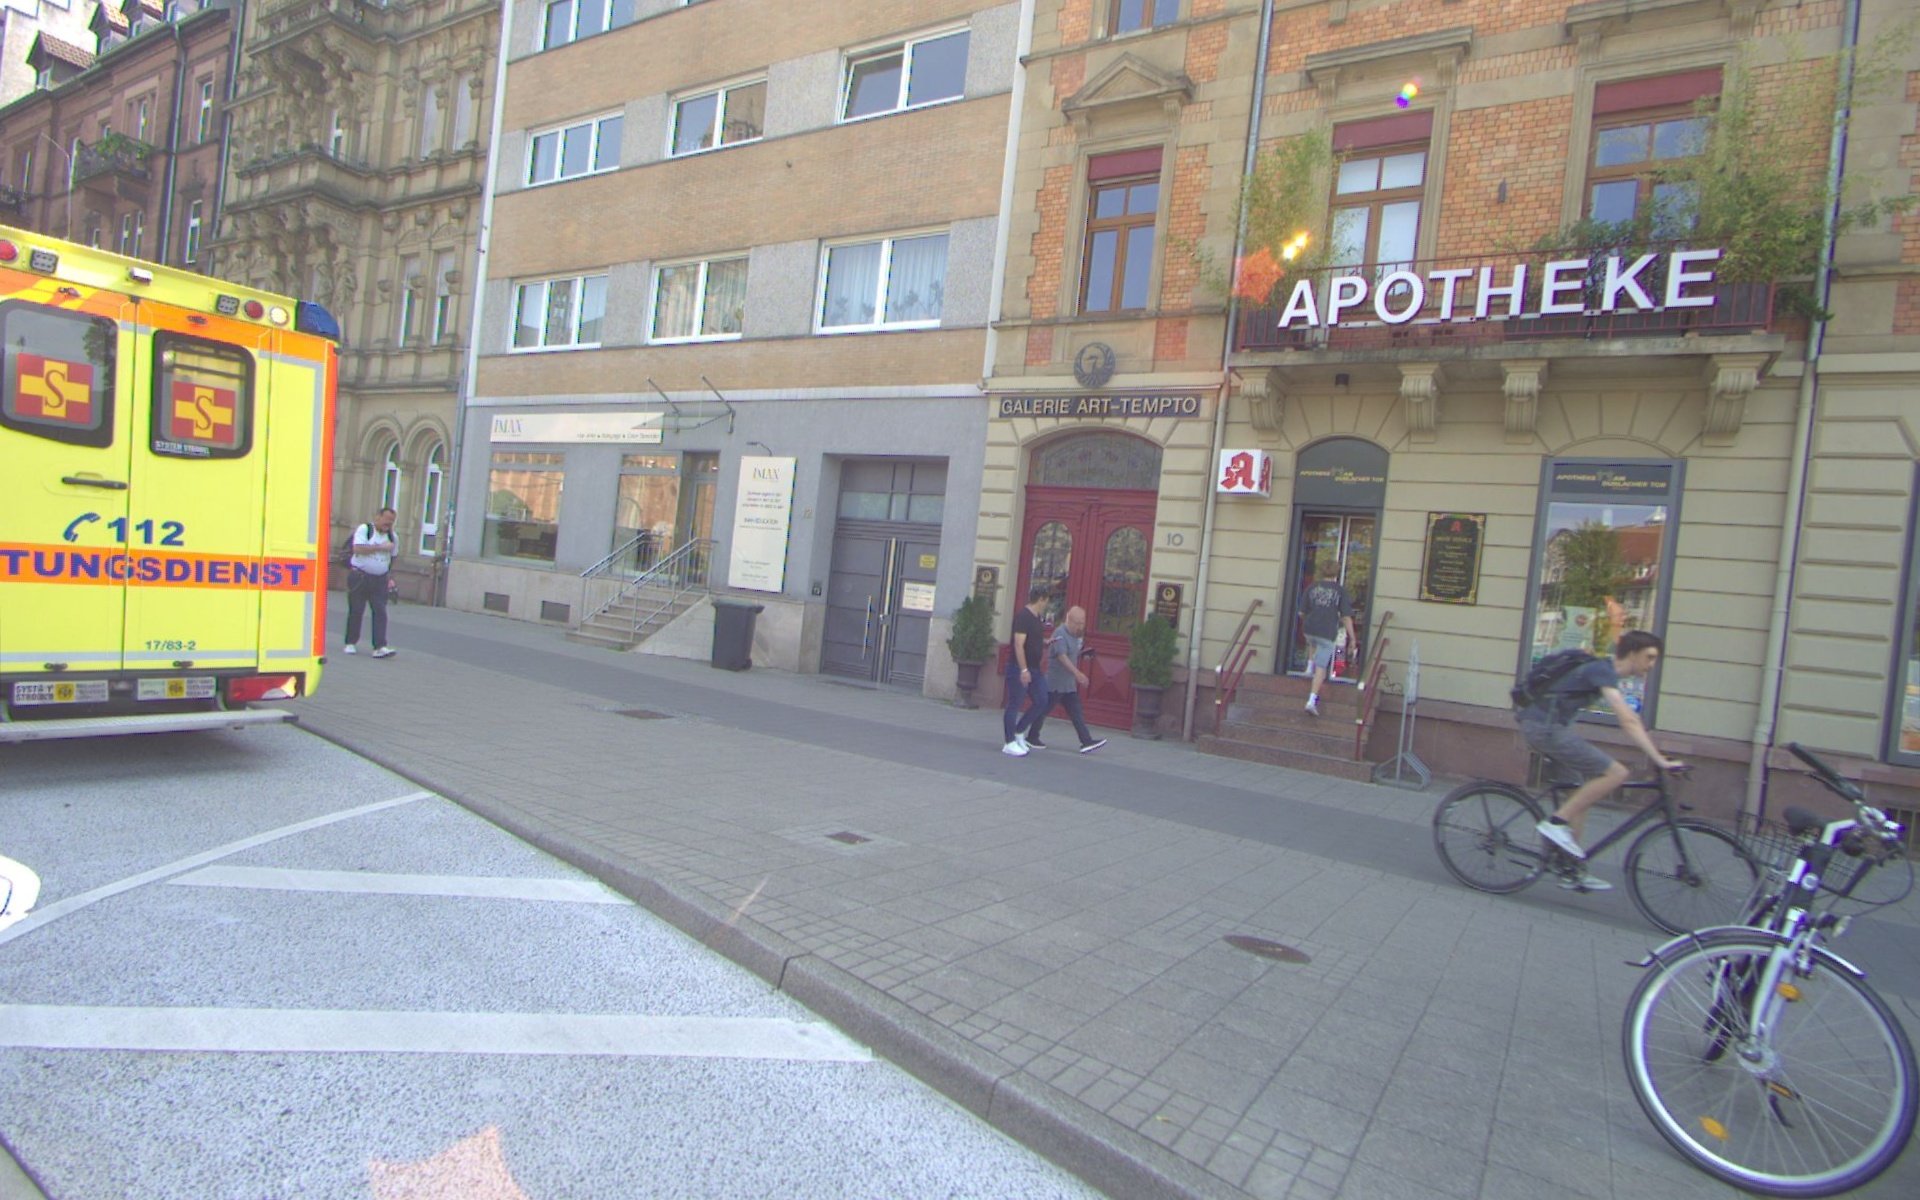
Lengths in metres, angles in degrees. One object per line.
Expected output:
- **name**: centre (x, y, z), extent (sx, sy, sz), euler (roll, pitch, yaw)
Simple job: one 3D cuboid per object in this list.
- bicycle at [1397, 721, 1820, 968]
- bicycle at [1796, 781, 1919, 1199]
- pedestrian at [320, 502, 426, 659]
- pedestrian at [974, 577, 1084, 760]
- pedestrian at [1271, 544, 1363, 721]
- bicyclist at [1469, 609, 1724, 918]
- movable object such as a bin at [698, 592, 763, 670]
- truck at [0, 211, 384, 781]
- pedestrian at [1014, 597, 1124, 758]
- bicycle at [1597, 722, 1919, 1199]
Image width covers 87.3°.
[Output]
- **bicycle**: centre (3.829, 1.390, 6.128), extent (1.968, 0.965, 0.720), euler (7, 0, 33)
- **bicycle**: centre (2.753, 1.109, 2.488), extent (0.687, 1.088, 1.806), euler (7, -2, 31)
- **pedestrian**: centre (-6.754, -0.213, 11.591), extent (0.583, 1.713, 0.722), euler (7, 1, 30)
- **pedestrian**: centre (0.685, 0.659, 9.905), extent (0.697, 1.673, 0.644), euler (7, 2, 33)
- **pedestrian**: centre (4.039, 0.365, 11.368), extent (0.651, 1.886, 0.737), euler (7, 1, 31)
- **bicyclist**: centre (3.848, 0.935, 6.148), extent (1.084, 1.606, 0.719), euler (7, 1, 33)
- **movable object such as a bin**: centre (-3.567, 0.475, 15.664), extent (0.715, 1.119, 0.646), euler (6, 2, 6)
- **truck**: centre (-6.948, -0.731, 7.257), extent (6.239, 2.807, 2.326), euler (6, 2, 35)
- **pedestrian**: centre (1.135, 0.786, 10.455), extent (0.829, 1.529, 0.557), euler (7, 2, 33)
- **bicycle**: centre (2.616, 1.063, 3.383), extent (0.679, 1.198, 1.606), euler (7, -1, 33)
